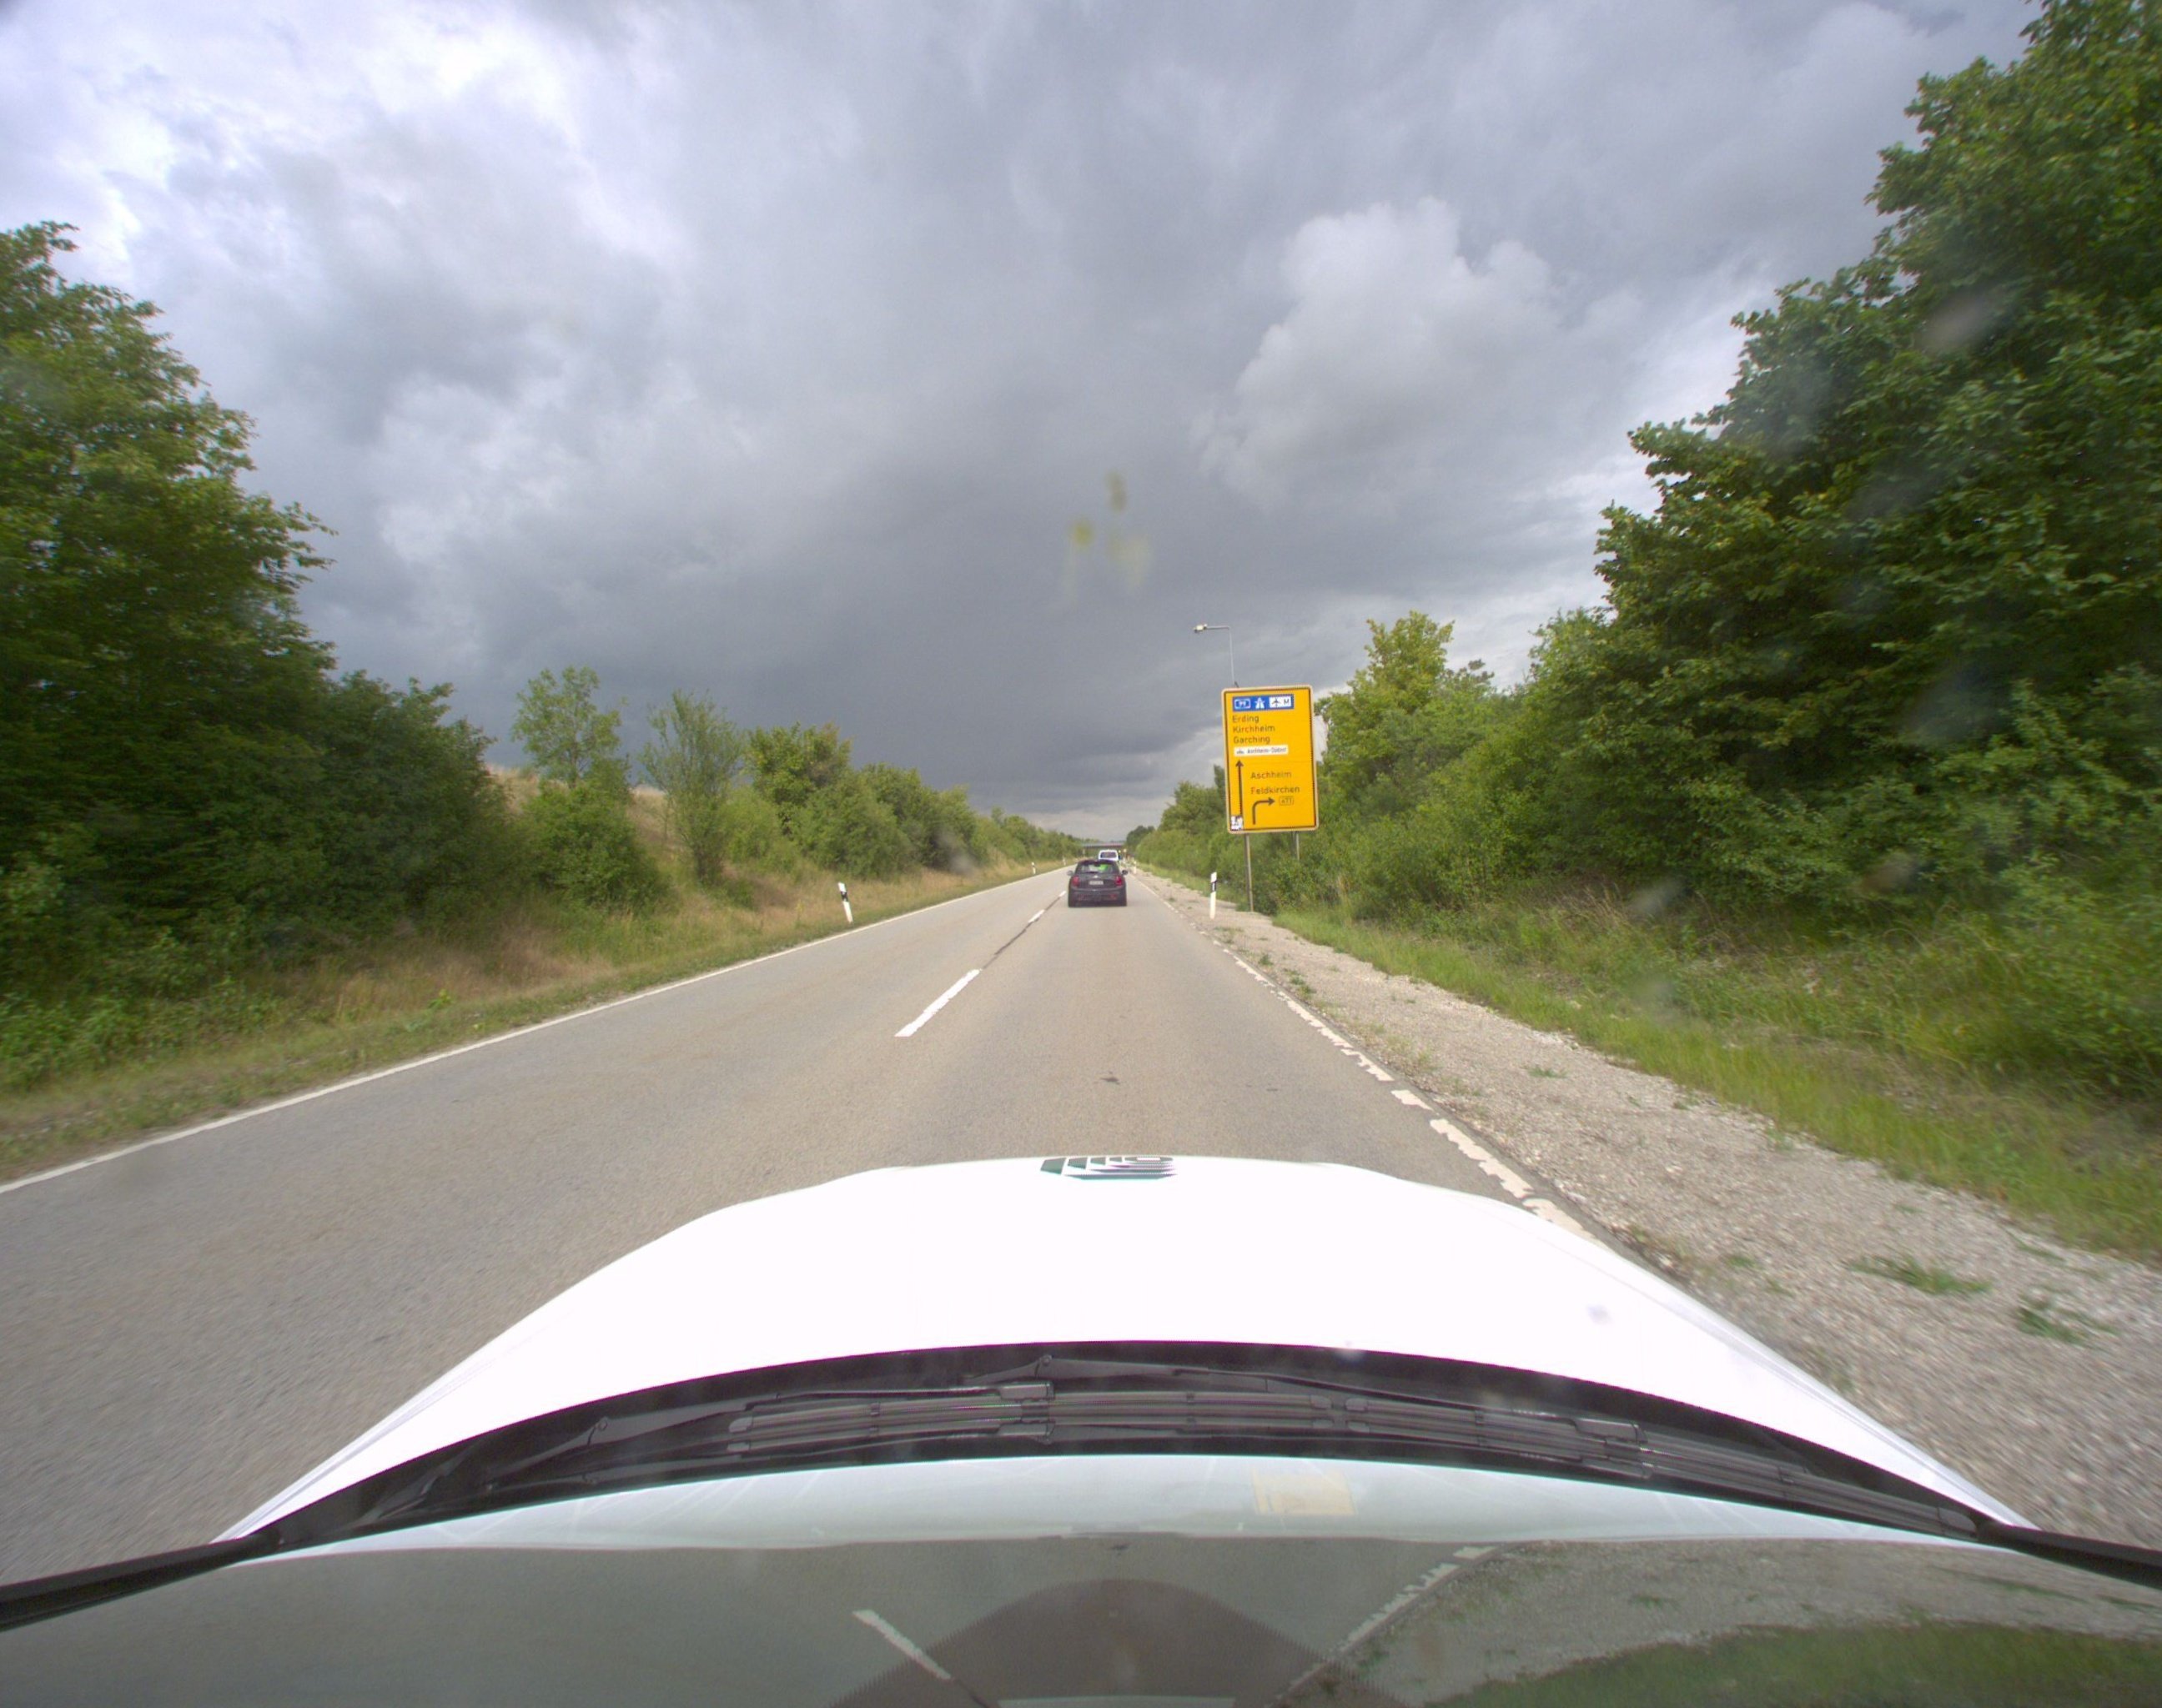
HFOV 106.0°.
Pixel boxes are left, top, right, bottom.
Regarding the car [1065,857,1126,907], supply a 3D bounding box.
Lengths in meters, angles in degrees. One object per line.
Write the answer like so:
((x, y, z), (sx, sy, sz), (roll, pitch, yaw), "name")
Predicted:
((0.482, 0.812, 25.391), (1.750, 1.427, 4.001), (0, 0, 2), "car")

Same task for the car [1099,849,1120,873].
((2.483, 0.611, 71.519), (1.813, 2.054, 4.001), (0, 0, 1), "car")
